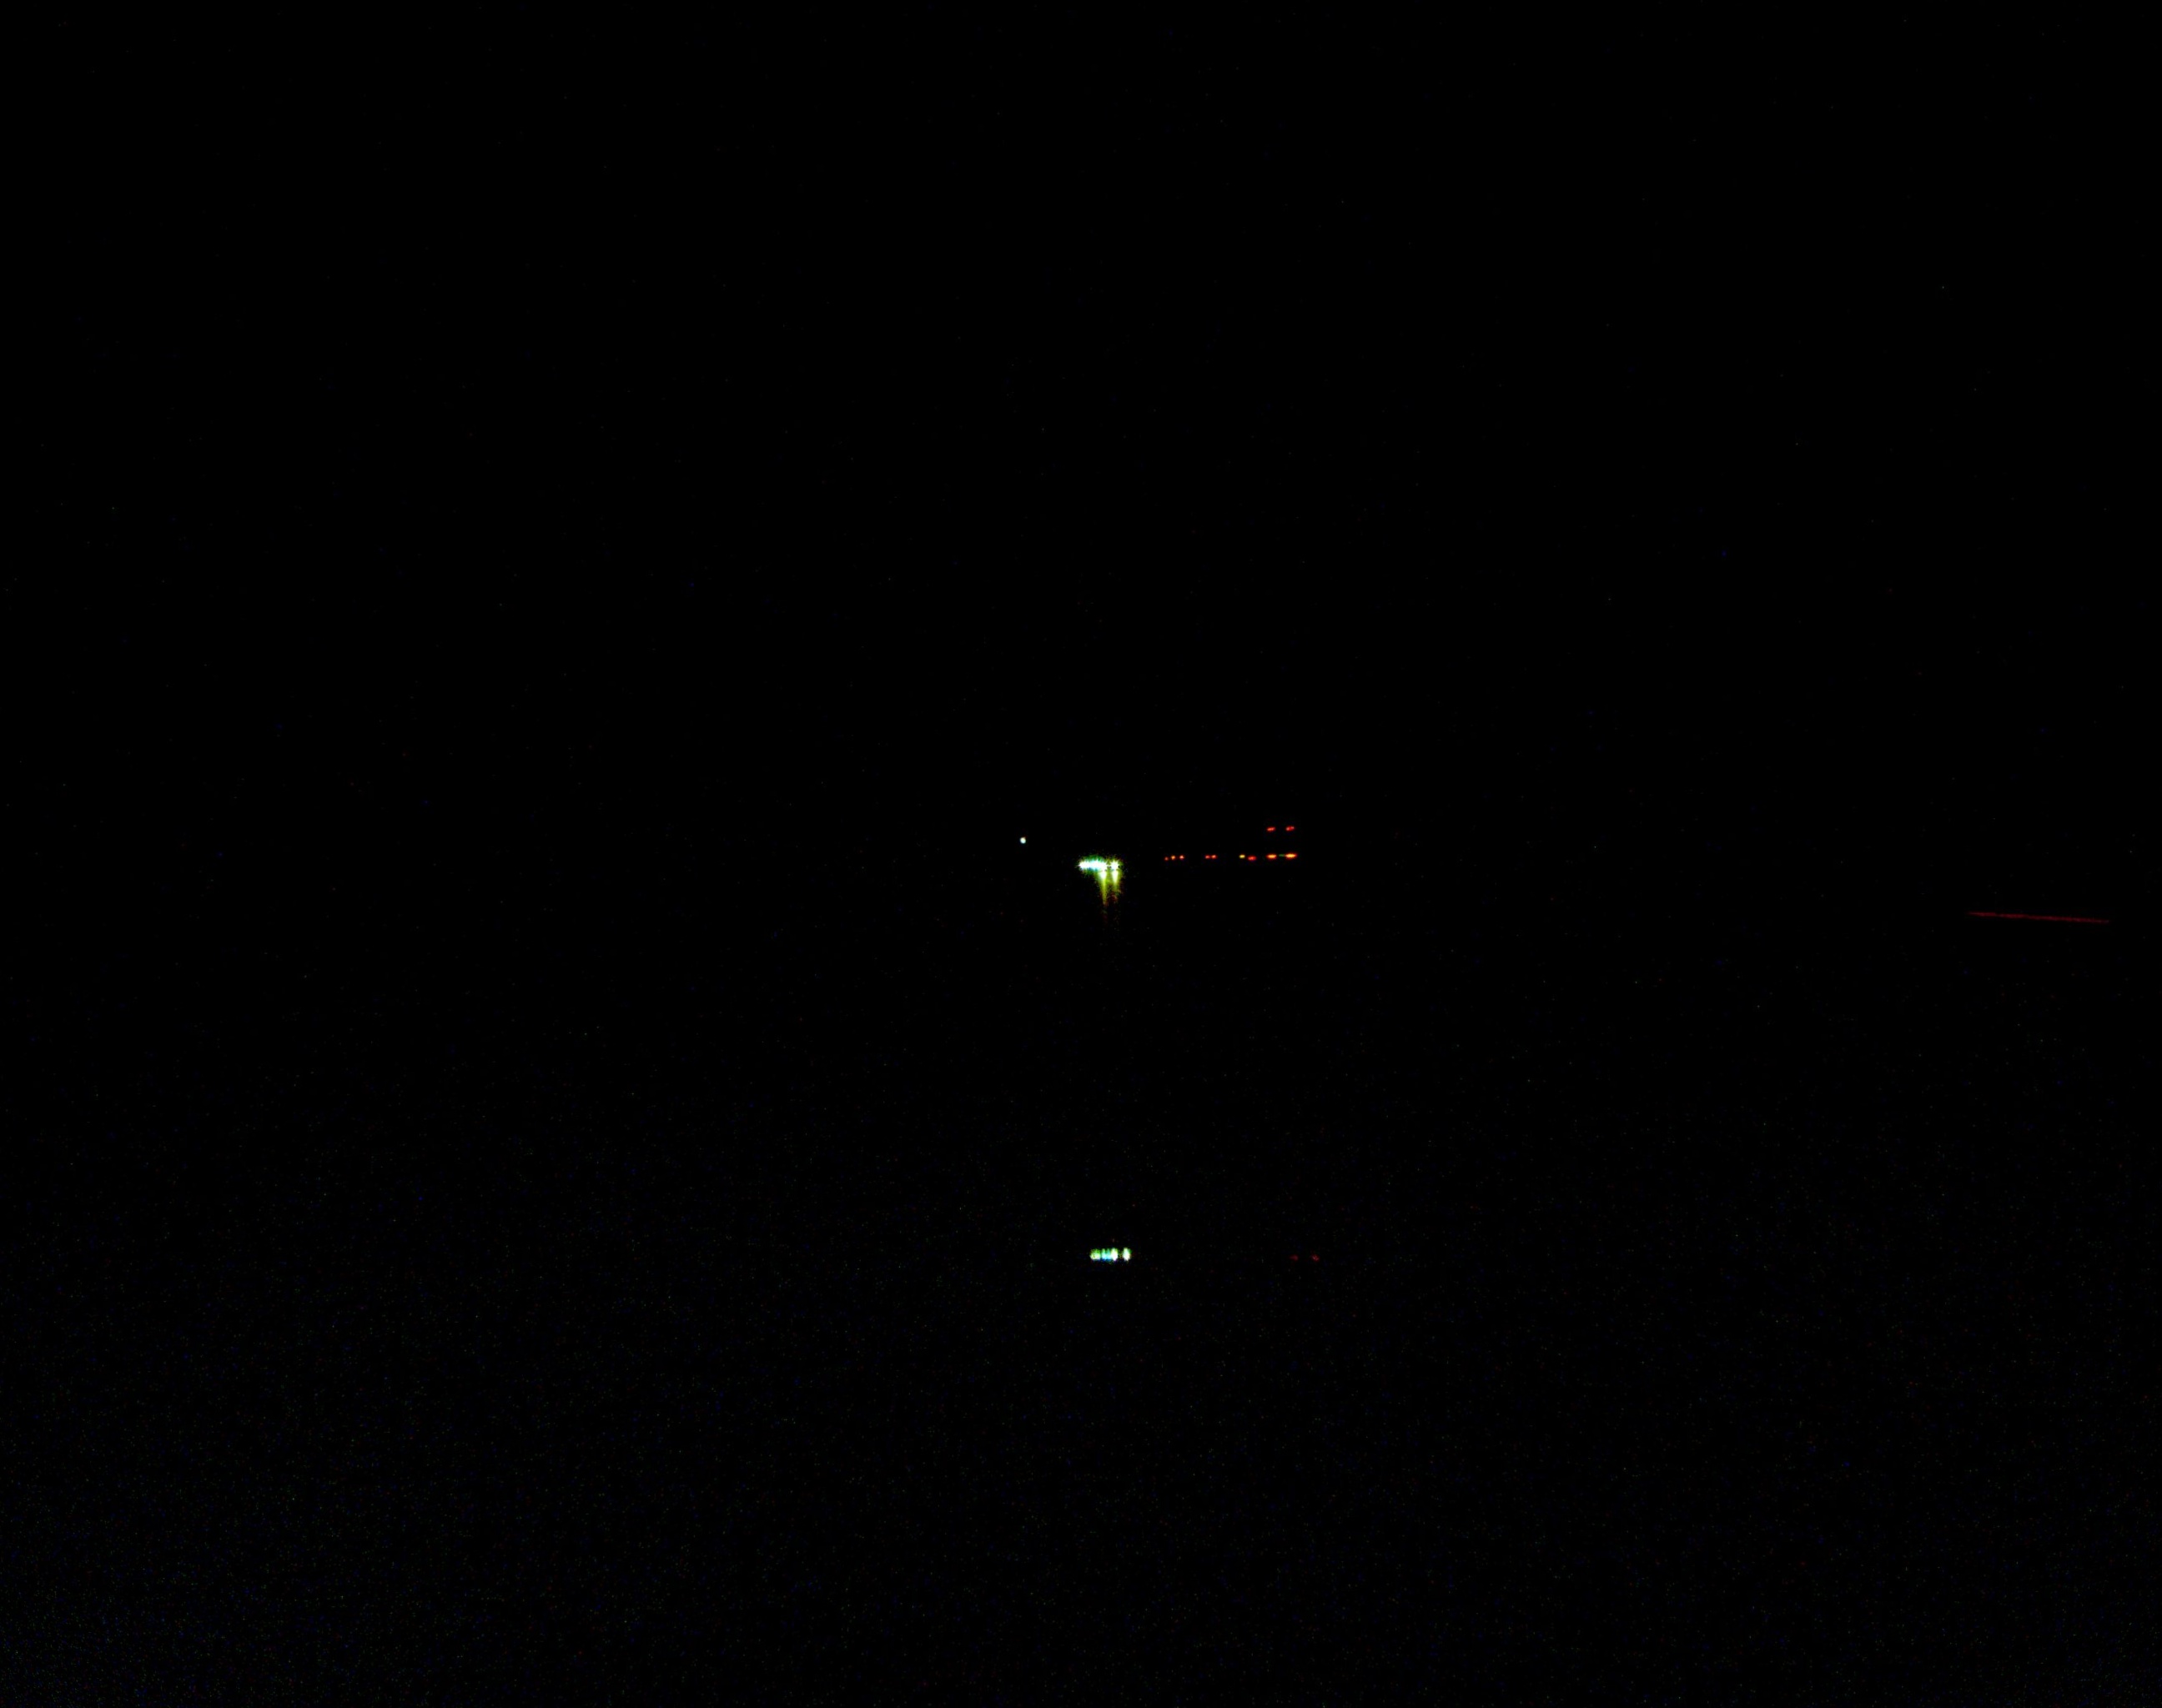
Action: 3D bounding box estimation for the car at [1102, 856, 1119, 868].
[{"bbox_3d":[3.896,1.057,101.223,1.998,1.423,4.329,-5,0,1],"label":"car"}]

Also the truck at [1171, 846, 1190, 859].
[{"bbox_3d":[21.372,-0.245,163.020,2.880,2.626,7.886,-4,0,0],"label":"truck"}]

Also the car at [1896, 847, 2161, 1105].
[{"bbox_3d":[6.931,0.715,2.972,1.554,1.423,5.513,-2,1,0],"label":"car"}]

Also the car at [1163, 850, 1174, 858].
[{"bbox_3d":[23.582,0.126,205.353,2.202,1.944,4.763,-5,0,1],"label":"car"}]

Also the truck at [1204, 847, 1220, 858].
[{"bbox_3d":[22.912,-0.307,132.814,2.040,1.746,4.763,-2,0,1],"label":"truck"}]

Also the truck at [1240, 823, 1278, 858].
[{"bbox_3d":[23.680,-1.735,101.304,3.333,4.407,6.707,-3,0,1],"label":"truck"}]

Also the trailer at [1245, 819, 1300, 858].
[{"bbox_3d":[23.601,-1.761,94.729,3.333,4.407,14.024,-3,0,1],"label":"trailer"}]
